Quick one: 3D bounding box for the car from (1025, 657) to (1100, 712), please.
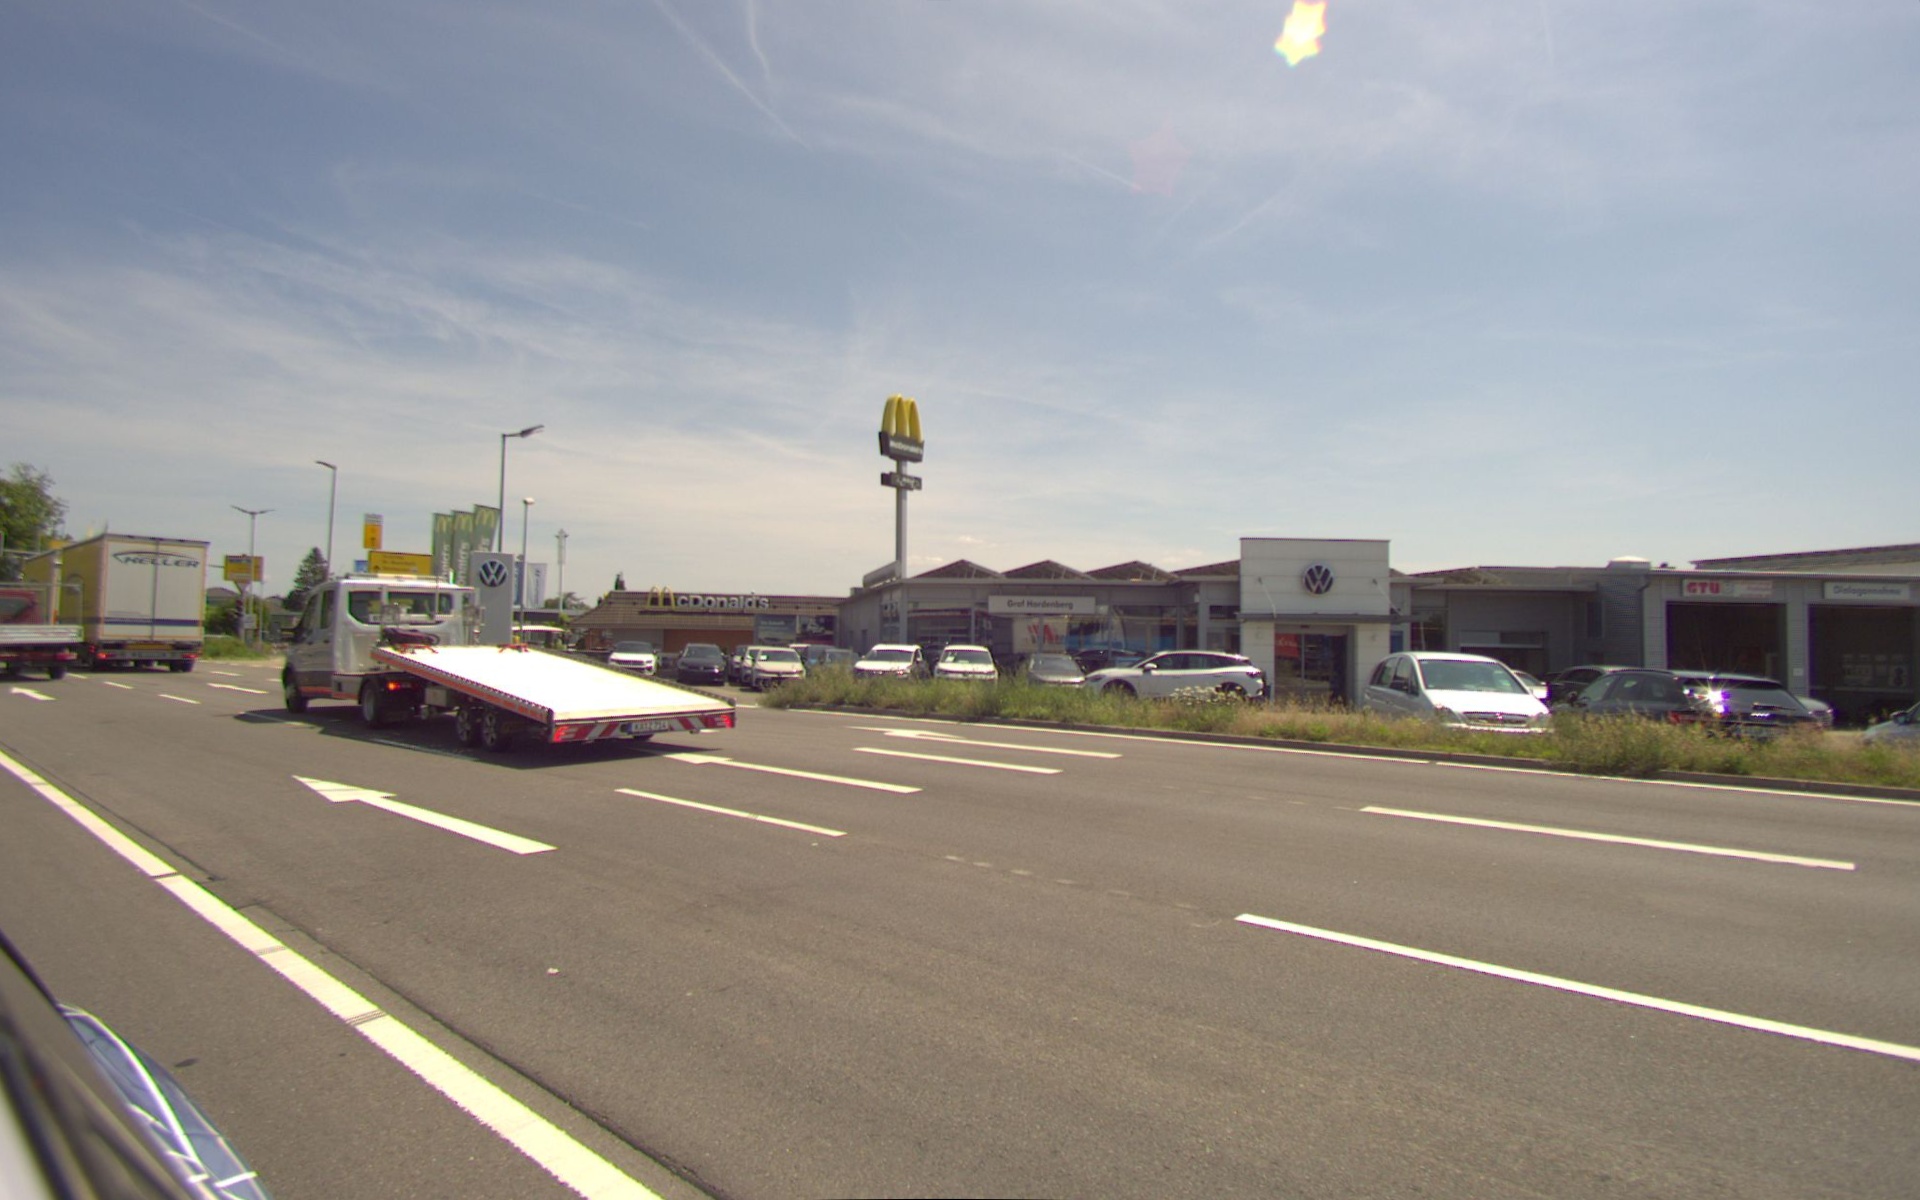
[{"bbox_3d":[2.903,2.399,29.429,1.798,1.422,4.170,1,-3,1],"label":"car"}]

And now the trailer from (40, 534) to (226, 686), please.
[{"bbox_3d":[-27.333,0.422,33.215,10.053,4.320,2.980,-1,-3,41],"label":"trailer"}]

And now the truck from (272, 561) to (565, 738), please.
[{"bbox_3d":[-8.859,0.789,16.296,5.675,2.358,2.398,-2,-5,43],"label":"truck"}]

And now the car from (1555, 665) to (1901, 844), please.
[{"bbox_3d":[9.234,1.742,12.638,1.780,1.763,3.857,0,-2,9],"label":"car"}]

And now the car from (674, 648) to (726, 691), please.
[{"bbox_3d":[-9.595,2.526,37.458,1.747,1.490,4.010,2,-3,-14],"label":"car"}]

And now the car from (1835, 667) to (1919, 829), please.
[{"bbox_3d":[11.408,1.630,10.512,1.781,1.763,3.854,0,-3,11],"label":"car"}]

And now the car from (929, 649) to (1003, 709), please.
[{"bbox_3d":[0.248,2.269,29.759,1.801,1.586,3.992,1,-3,6],"label":"car"}]

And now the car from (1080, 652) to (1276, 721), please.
[{"bbox_3d":[5.440,2.164,25.693,4.618,1.586,1.821,1,-3,4],"label":"car"}]

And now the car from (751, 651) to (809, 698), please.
[{"bbox_3d":[-6.106,2.450,33.989,1.741,1.426,3.992,2,-3,-12],"label":"car"}]

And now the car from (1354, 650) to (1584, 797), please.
[{"bbox_3d":[7.094,1.629,14.590,1.854,1.763,3.857,0,-2,9],"label":"car"}]

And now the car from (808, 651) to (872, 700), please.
[{"bbox_3d":[-4.047,2.454,33.573,1.586,1.490,4.113,2,-3,-14],"label":"car"}]

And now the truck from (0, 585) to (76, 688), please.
[{"bbox_3d":[-25.193,0.902,26.436,6.871,2.463,2.370,-1,-1,42],"label":"truck"}]

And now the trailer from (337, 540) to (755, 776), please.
[{"bbox_3d":[-5.759,0.705,13.373,6.897,2.356,2.401,-1,-4,43],"label":"trailer"}]

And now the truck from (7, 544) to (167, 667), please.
[{"bbox_3d":[-33.338,0.325,38.441,10.348,4.136,2.997,-1,-3,41],"label":"truck"}]

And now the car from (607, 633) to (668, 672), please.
[{"bbox_3d":[-13.049,2.121,41.165,2.092,1.490,4.010,1,-3,-14],"label":"car"}]

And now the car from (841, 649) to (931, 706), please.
[{"bbox_3d":[-2.128,2.265,30.240,1.802,1.557,4.128,1,-3,9],"label":"car"}]

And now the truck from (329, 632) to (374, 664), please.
[{"bbox_3d":[-64.688,5.115,107.804,2.951,3.245,9.644,3,-4,-25],"label":"truck"}]
